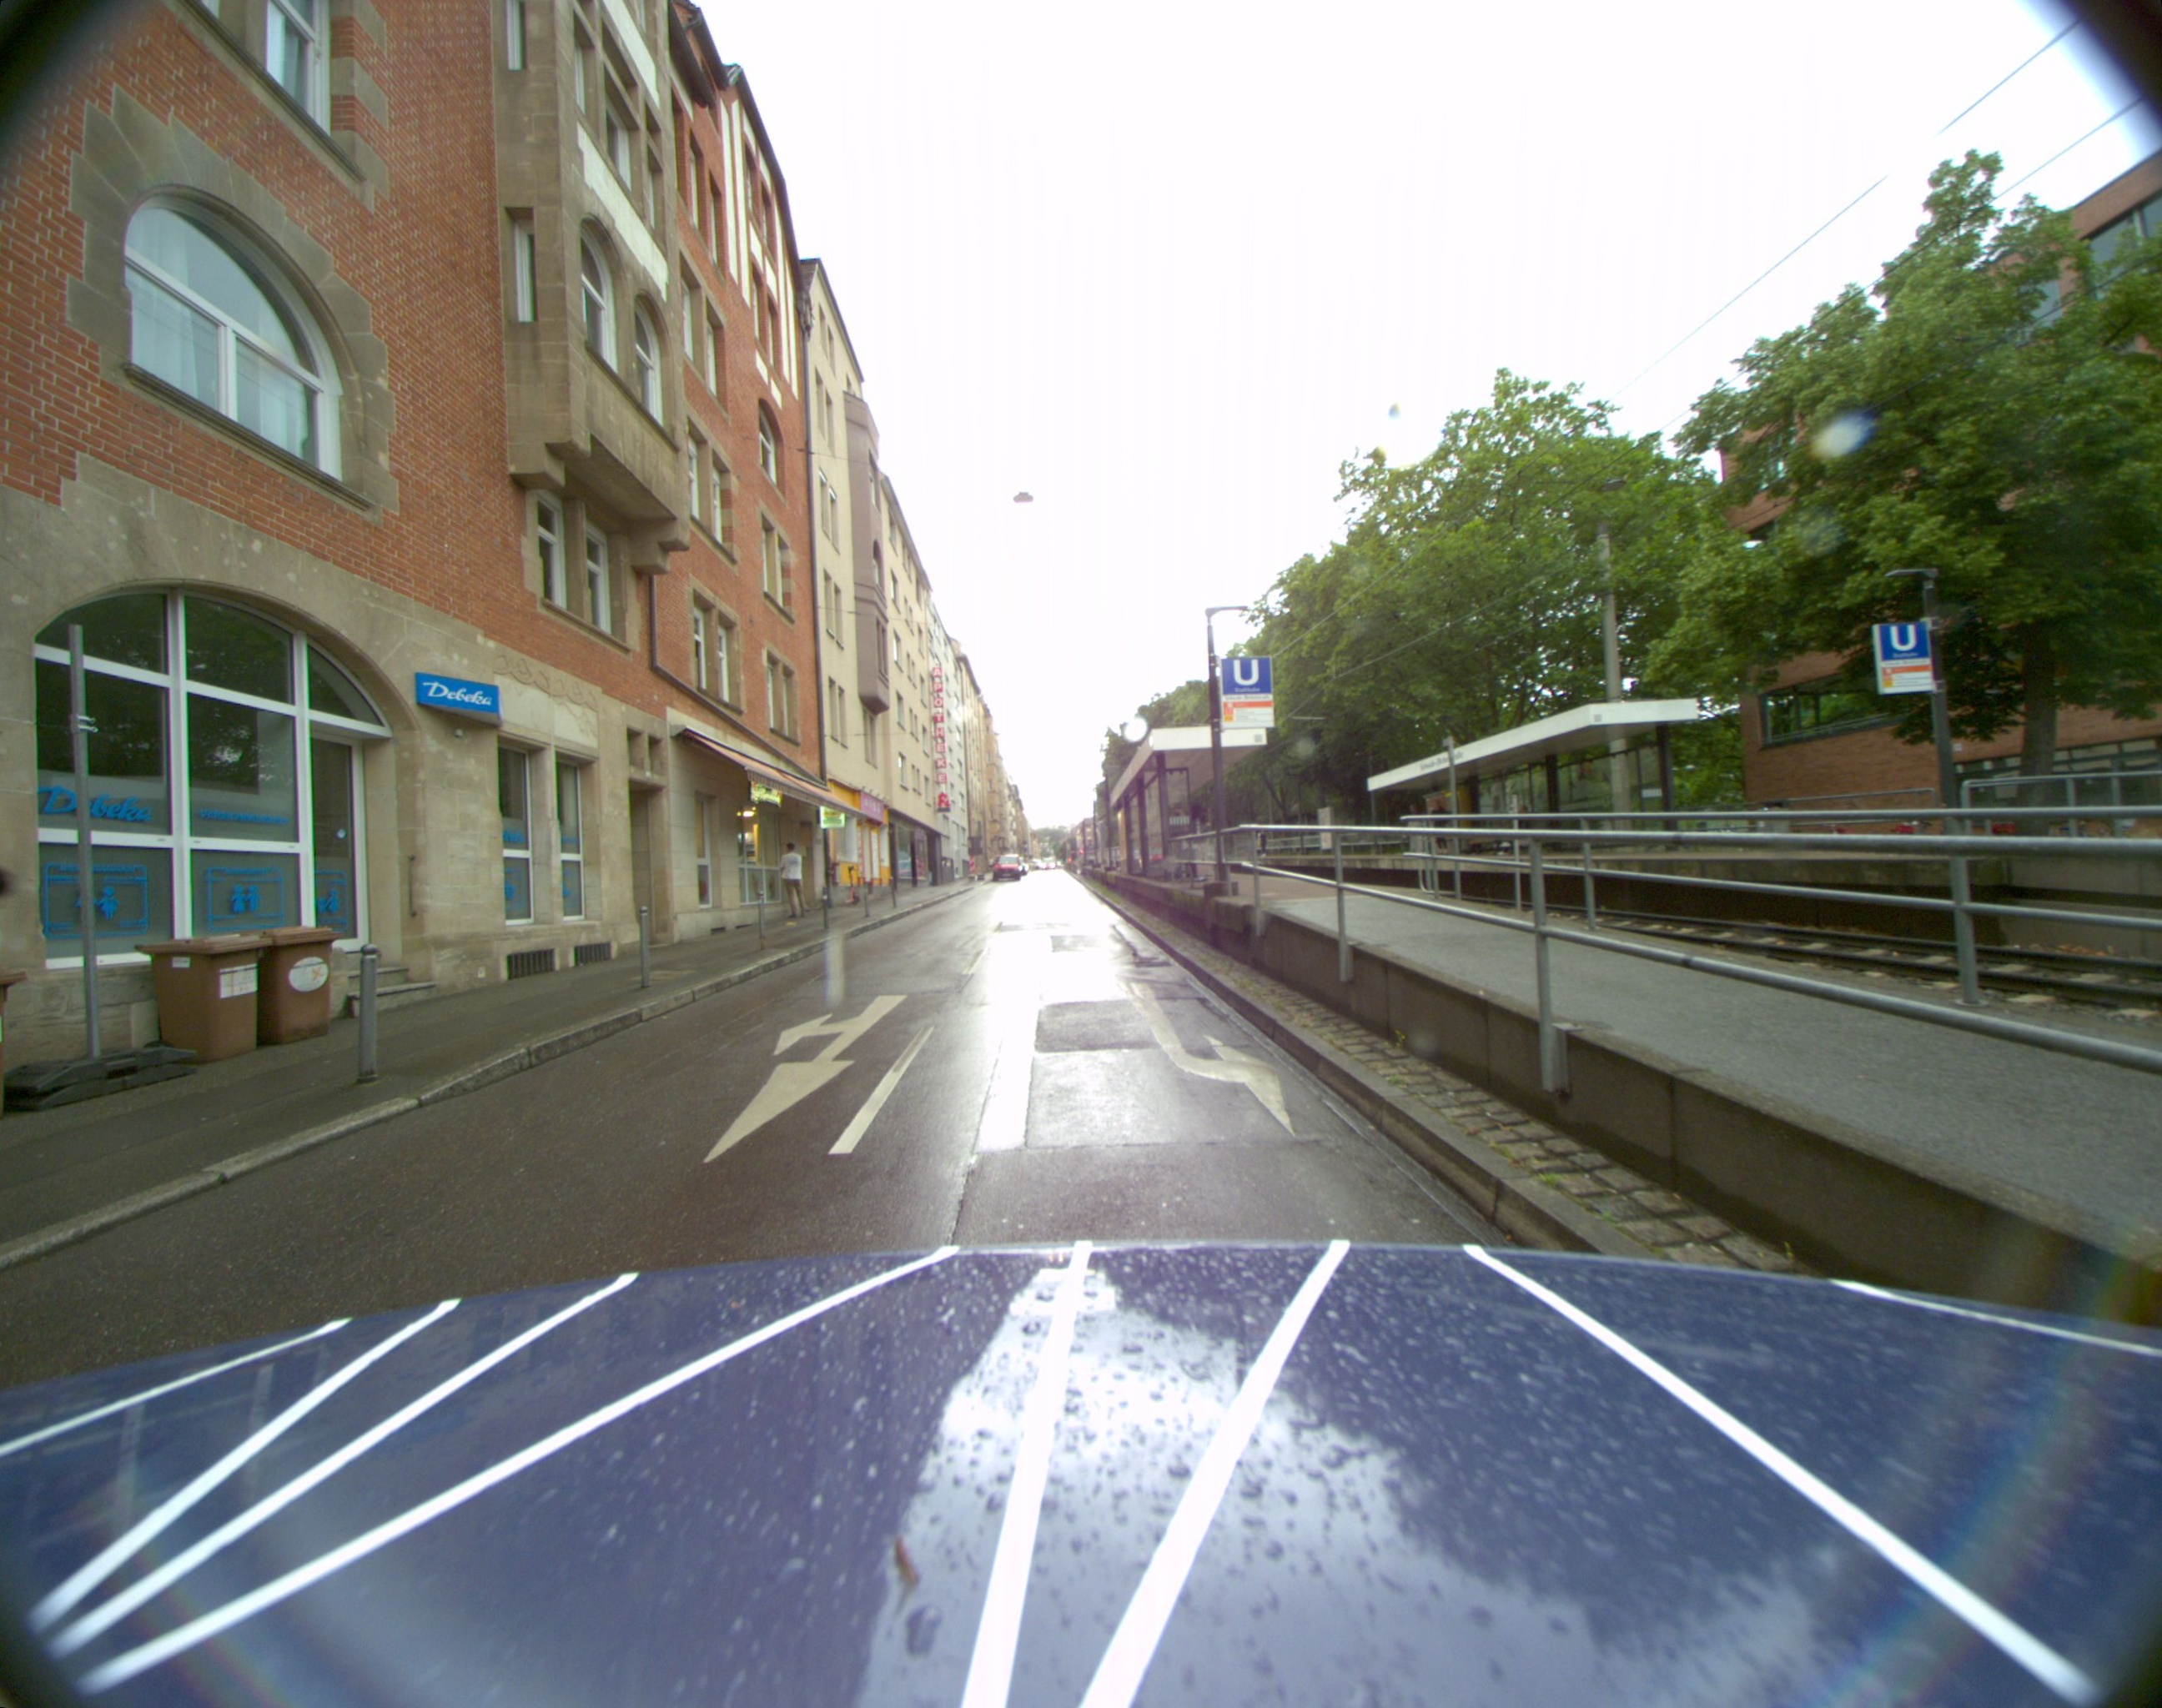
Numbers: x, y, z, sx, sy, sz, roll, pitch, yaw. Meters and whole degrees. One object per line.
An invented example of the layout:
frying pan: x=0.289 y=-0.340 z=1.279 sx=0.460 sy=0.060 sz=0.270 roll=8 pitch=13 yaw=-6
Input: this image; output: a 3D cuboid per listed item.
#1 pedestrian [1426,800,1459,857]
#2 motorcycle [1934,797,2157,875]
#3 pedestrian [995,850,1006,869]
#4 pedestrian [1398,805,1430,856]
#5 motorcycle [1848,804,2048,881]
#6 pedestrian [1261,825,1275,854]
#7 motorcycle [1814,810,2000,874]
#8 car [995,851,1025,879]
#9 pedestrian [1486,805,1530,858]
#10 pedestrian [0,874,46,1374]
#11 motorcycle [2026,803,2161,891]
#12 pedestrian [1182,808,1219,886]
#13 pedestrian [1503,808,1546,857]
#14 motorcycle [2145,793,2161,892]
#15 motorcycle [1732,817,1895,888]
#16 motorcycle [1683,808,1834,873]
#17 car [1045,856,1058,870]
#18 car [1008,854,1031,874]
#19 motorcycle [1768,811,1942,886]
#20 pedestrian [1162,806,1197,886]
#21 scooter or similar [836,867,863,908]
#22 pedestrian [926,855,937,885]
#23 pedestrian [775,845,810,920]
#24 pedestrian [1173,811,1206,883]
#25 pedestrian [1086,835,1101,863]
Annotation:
pedestrian: x=11.257 y=-0.779 z=23.692 sx=0.564 sy=1.705 sz=0.705 roll=-4 pitch=0 yaw=-4
motorcycle: x=21.358 y=-0.398 z=16.866 sx=3.875 sy=1.479 sz=1.006 roll=-3 pitch=1 yaw=-4
pedestrian: x=-7.631 y=0.505 z=72.113 sx=0.853 sy=1.747 sz=0.837 roll=-4 pitch=0 yaw=-2
pedestrian: x=11.027 y=-0.765 z=25.163 sx=0.688 sy=1.631 sz=0.564 roll=-4 pitch=0 yaw=-4
motorcycle: x=20.926 y=-0.271 z=18.379 sx=3.875 sy=1.596 sz=1.006 roll=-3 pitch=1 yaw=-4
pedestrian: x=10.691 y=-0.820 z=43.400 sx=0.563 sy=1.631 sz=0.689 roll=-4 pitch=0 yaw=4
motorcycle: x=21.243 y=-0.305 z=19.590 sx=3.875 sy=1.399 sz=1.006 roll=-3 pitch=1 yaw=-4
car: x=-5.068 y=0.747 z=54.981 sx=1.980 sy=1.827 sz=5.243 roll=-3 pitch=0 yaw=-4
pedestrian: x=11.602 y=-0.608 z=20.643 sx=0.779 sy=1.354 sz=0.564 roll=-4 pitch=0 yaw=-4
pedestrian: x=-4.186 y=0.952 z=2.541 sx=0.834 sy=1.743 sz=0.688 roll=-1 pitch=1 yaw=45
motorcycle: x=21.322 y=-0.177 z=15.467 sx=3.067 sy=1.618 sz=1.006 roll=-3 pitch=1 yaw=-4
pedestrian: x=2.474 y=-0.144 z=15.738 sx=0.615 sy=1.572 sz=0.507 roll=-3 pitch=1 yaw=1
pedestrian: x=11.701 y=-0.549 z=20.057 sx=0.705 sy=1.233 sz=0.564 roll=-4 pitch=0 yaw=-4
motorcycle: x=21.187 y=-0.286 z=13.603 sx=3.045 sy=1.805 sz=0.993 roll=-3 pitch=1 yaw=-4
motorcycle: x=21.137 y=-0.044 z=21.968 sx=3.875 sy=1.805 sz=1.006 roll=-3 pitch=1 yaw=-4
motorcycle: x=20.958 y=-0.403 z=23.530 sx=3.875 sy=1.763 sz=1.006 roll=-3 pitch=1 yaw=-4
car: x=-3.717 y=1.149 z=95.355 sx=1.621 sy=1.592 sz=4.066 roll=-2 pitch=-1 yaw=-2
car: x=-5.738 y=0.929 z=70.998 sx=1.770 sy=1.698 sz=4.499 roll=-3 pitch=0 yaw=-1
motorcycle: x=21.178 y=-0.158 z=20.820 sx=3.875 sy=1.805 sz=1.006 roll=-3 pitch=1 yaw=-4
pedestrian: x=2.130 y=-0.172 z=16.546 sx=0.615 sy=1.678 sz=0.587 roll=-3 pitch=1 yaw=1
scooter or similar: x=-7.220 y=1.038 z=23.735 sx=0.258 sy=1.214 sz=1.195 roll=-3 pitch=-1 yaw=7
pedestrian: x=-8.461 y=0.896 z=43.064 sx=0.482 sy=1.635 sz=0.331 roll=-4 pitch=1 yaw=-19
pedestrian: x=-7.133 y=0.688 z=18.771 sx=0.562 sy=1.820 sz=0.580 roll=2 pitch=2 yaw=33
pedestrian: x=2.449 y=-0.151 z=17.202 sx=0.615 sy=1.572 sz=0.507 roll=-3 pitch=1 yaw=1
pedestrian: x=0.806 y=-0.319 z=51.163 sx=0.861 sy=1.788 sz=0.787 roll=-3 pitch=0 yaw=-3
